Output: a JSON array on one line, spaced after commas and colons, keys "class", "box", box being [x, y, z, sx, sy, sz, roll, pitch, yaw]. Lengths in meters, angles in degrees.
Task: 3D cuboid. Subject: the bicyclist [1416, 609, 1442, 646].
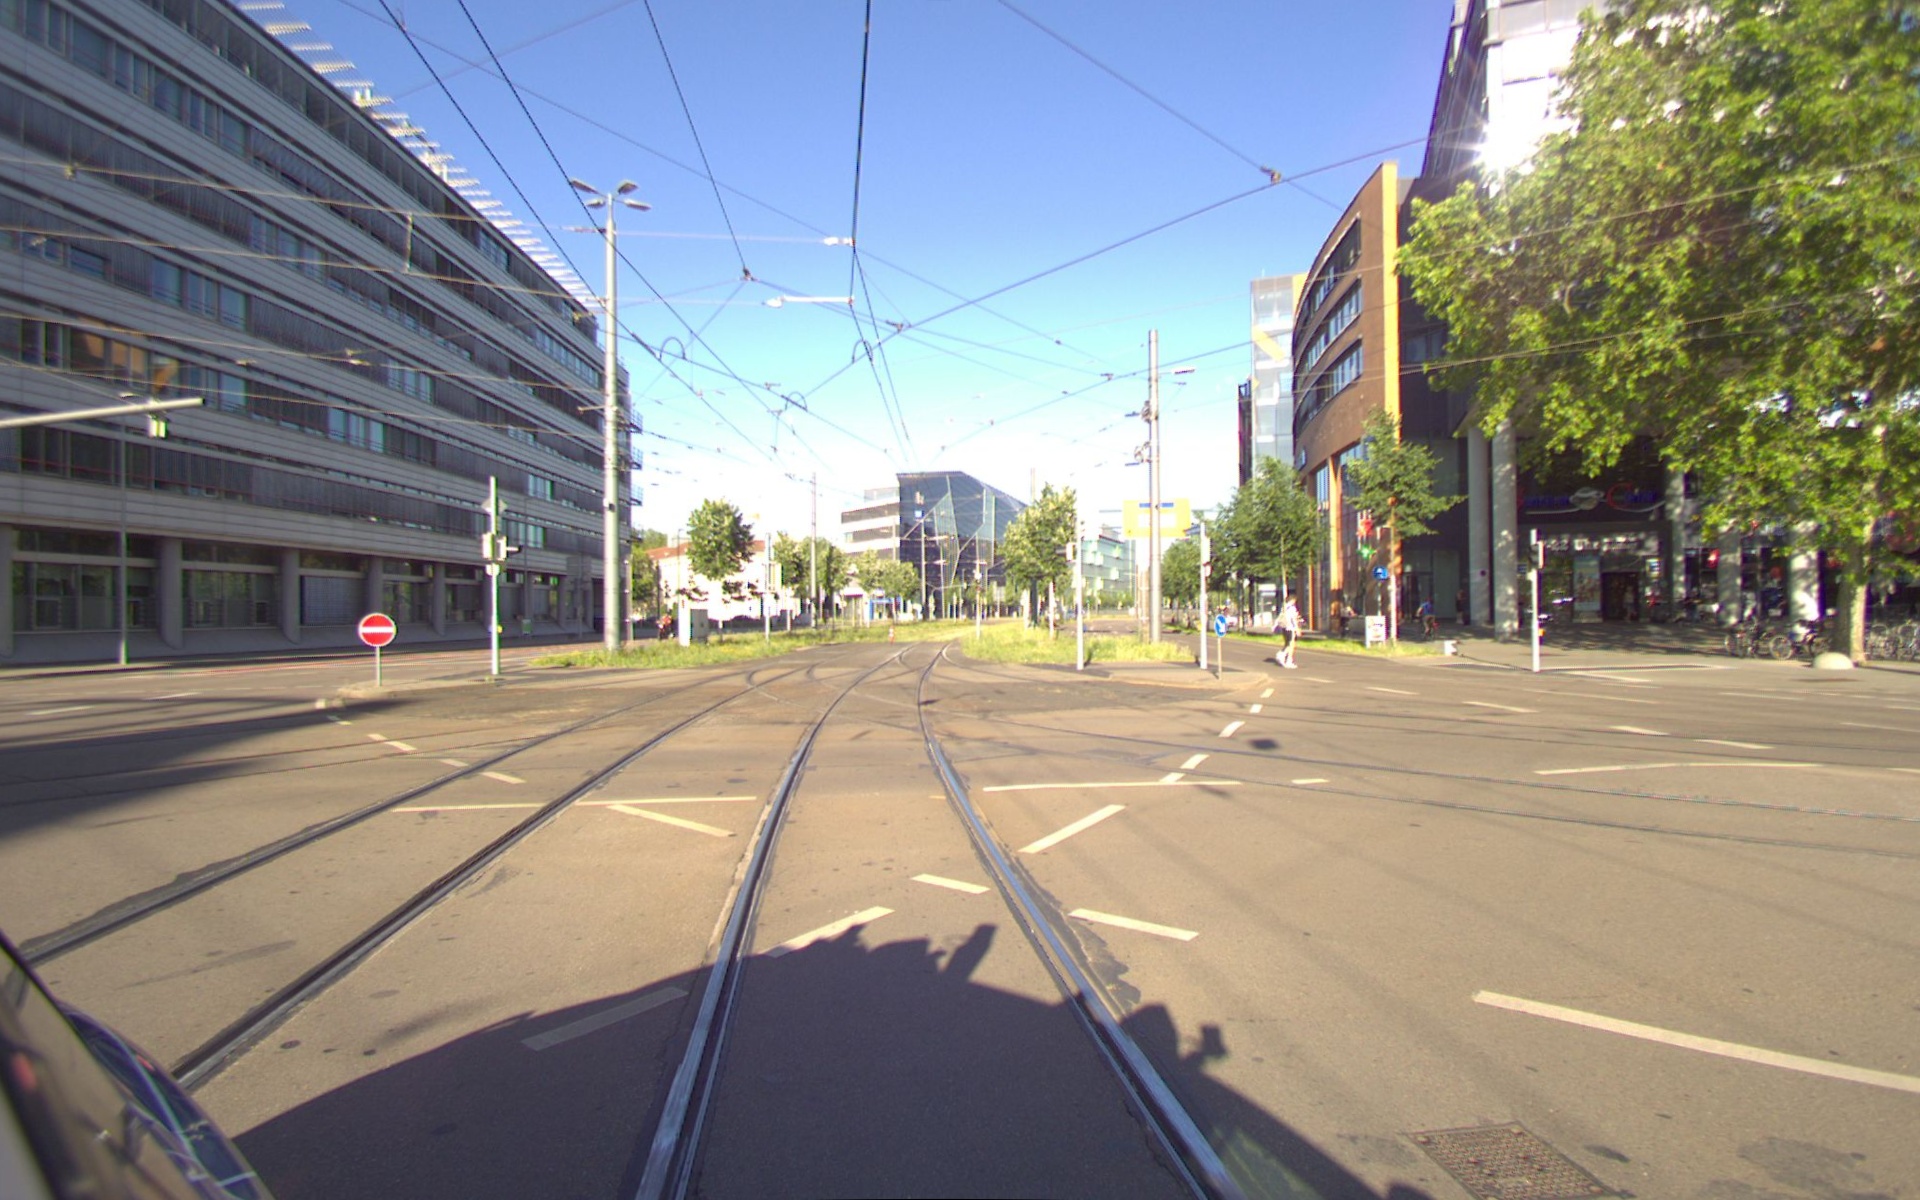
[{"class": "bicyclist", "box": [18.807, 1.115, 40.580, 0.685, 1.472, 0.753, -1, -1, 3]}]

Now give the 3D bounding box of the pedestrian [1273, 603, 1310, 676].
[{"class": "pedestrian", "box": [8.729, 1.035, 26.685, 0.724, 1.884, 0.698, -1, -1, 3]}]

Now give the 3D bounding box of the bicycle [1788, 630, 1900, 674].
[{"class": "bicycle", "box": [23.650, 1.384, 27.102, 2.335, 1.137, 0.598, -1, -2, 3]}]

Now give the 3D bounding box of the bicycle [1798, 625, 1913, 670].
[{"class": "bicycle", "box": [23.389, 1.245, 26.455, 2.335, 1.137, 0.598, -1, -2, 3]}]

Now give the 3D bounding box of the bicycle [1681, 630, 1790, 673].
[{"class": "bicycle", "box": [20.811, 1.379, 27.184, 2.336, 1.137, 0.598, -1, -2, 4]}]

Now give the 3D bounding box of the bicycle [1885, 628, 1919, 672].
[{"class": "bicycle", "box": [25.787, 1.295, 26.572, 2.335, 1.137, 0.598, -1, -2, 3]}]

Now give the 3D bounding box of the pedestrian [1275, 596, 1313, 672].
[{"class": "pedestrian", "box": [8.493, 0.857, 25.738, 0.723, 1.884, 0.673, -1, -1, 1]}]

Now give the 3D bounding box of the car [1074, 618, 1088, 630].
[{"class": "car", "box": [16.076, 3.164, 134.676, 1.607, 1.539, 4.795, -1, -1, 5]}]

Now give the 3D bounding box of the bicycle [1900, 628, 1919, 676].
[{"class": "bicycle", "box": [23.844, 1.233, 24.039, 2.335, 1.137, 0.598, -1, -2, 3]}]

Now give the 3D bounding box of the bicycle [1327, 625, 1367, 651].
[{"class": "bicycle", "box": [17.012, 1.681, 44.518, 0.884, 1.112, 2.688, -1, -2, 4]}]

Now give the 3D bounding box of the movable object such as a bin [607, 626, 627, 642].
[{"class": "movable object such as a bin", "box": [-28.310, 2.828, 83.484, 1.159, 1.311, 1.327, -1, -1, 4]}]

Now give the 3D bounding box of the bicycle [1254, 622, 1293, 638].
[{"class": "bicycle", "box": [23.027, 2.200, 74.476, 2.666, 1.112, 0.891, -1, -2, 15]}]

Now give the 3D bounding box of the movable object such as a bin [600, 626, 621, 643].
[{"class": "movable object such as a bin", "box": [-28.400, 2.799, 82.226, 1.159, 1.311, 1.327, -1, -1, 4]}]

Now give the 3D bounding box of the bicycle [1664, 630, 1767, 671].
[{"class": "bicycle", "box": [21.388, 1.418, 28.674, 2.336, 1.137, 0.598, -1, -2, 4]}]

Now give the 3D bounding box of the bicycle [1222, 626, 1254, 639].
[{"class": "bicycle", "box": [24.741, 2.871, 90.124, 2.666, 1.112, 0.891, -1, -2, 15]}]

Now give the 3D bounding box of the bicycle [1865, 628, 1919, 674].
[{"class": "bicycle", "box": [24.122, 1.271, 25.280, 2.335, 1.137, 0.598, -1, -2, 3]}]

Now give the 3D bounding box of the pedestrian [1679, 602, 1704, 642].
[{"class": "pedestrian", "box": [30.985, 0.939, 42.881, 0.688, 1.665, 0.706, 0, -1, -43]}]

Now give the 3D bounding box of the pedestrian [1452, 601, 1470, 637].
[{"class": "pedestrian", "box": [23.827, 0.913, 48.150, 0.729, 1.718, 0.693, -1, -1, 25]}]

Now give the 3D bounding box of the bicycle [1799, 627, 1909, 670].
[{"class": "bicycle", "box": [24.412, 1.315, 27.657, 2.335, 1.137, 0.598, -1, -2, 3]}]

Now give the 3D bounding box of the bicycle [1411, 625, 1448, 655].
[{"class": "bicycle", "box": [18.810, 1.595, 40.617, 0.685, 1.145, 1.849, -1, -1, 3]}]

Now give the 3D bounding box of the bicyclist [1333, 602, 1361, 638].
[{"class": "bicyclist", "box": [17.014, 0.884, 44.542, 0.884, 1.560, 0.938, -1, -2, 5]}]

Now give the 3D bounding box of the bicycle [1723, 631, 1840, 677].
[{"class": "bicycle", "box": [20.831, 1.362, 25.699, 2.336, 1.137, 0.598, -1, -2, 4]}]

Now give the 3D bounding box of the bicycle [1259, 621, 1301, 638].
[{"class": "bicycle", "box": [21.689, 2.006, 68.648, 2.666, 1.112, 0.891, -1, -2, 15]}]

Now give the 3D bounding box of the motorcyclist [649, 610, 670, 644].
[{"class": "motorcyclist", "box": [-16.812, 1.503, 56.641, 0.810, 1.871, 1.112, 0, -1, 1]}]

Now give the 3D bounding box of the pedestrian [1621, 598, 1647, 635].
[{"class": "pedestrian", "box": [30.612, 0.764, 45.956, 0.690, 1.665, 0.704, -1, -1, 8]}]

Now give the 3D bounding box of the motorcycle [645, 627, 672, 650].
[{"class": "motorcycle", "box": [-16.820, 2.150, 56.582, 0.810, 1.230, 2.255, 0, -1, 1]}]

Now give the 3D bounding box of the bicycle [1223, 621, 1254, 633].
[{"class": "bicycle", "box": [25.517, 2.492, 92.749, 2.666, 1.112, 0.821, -1, -2, 15]}]

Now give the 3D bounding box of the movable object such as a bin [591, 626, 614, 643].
[{"class": "movable object such as a bin", "box": [-27.903, 2.698, 78.973, 1.311, 1.311, 1.173, -1, -1, 4]}]
